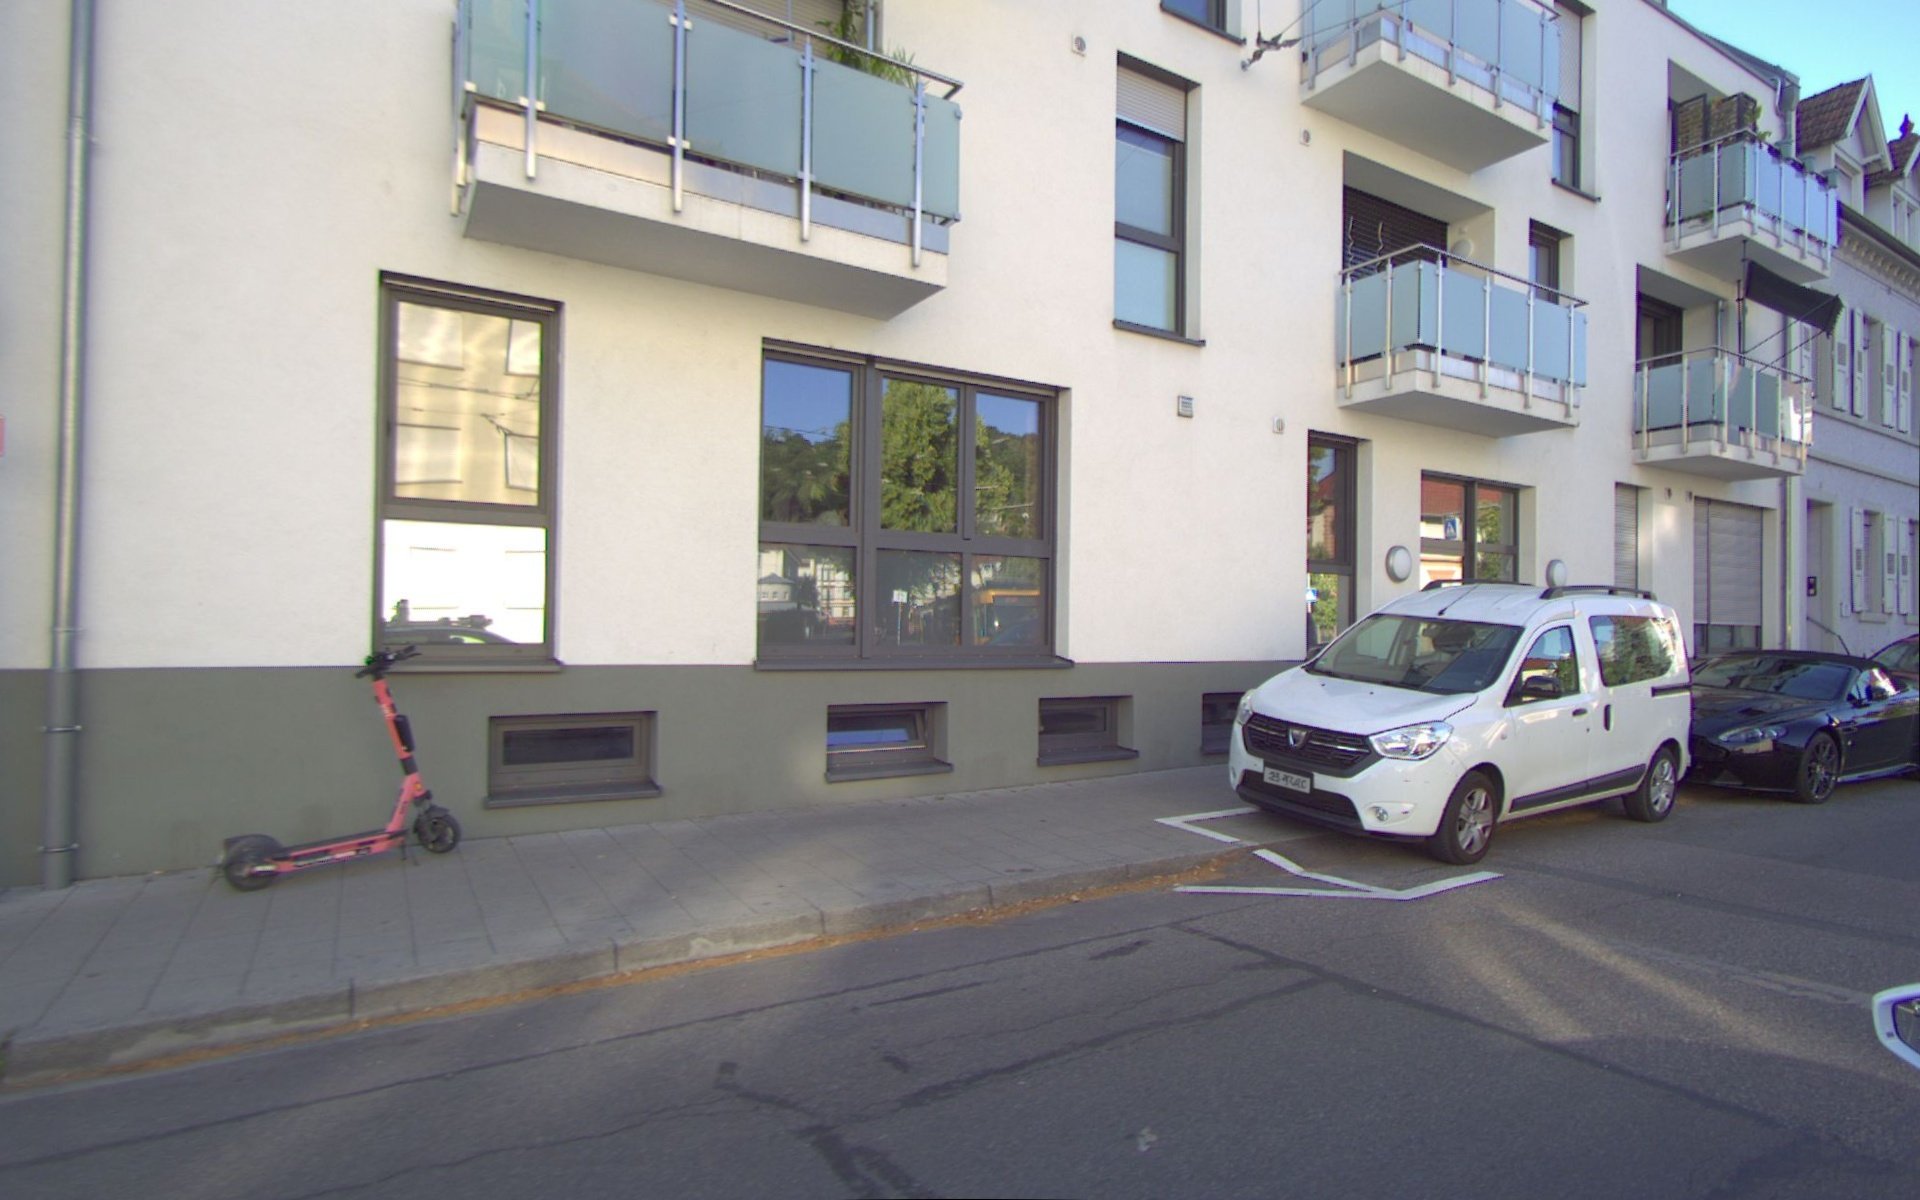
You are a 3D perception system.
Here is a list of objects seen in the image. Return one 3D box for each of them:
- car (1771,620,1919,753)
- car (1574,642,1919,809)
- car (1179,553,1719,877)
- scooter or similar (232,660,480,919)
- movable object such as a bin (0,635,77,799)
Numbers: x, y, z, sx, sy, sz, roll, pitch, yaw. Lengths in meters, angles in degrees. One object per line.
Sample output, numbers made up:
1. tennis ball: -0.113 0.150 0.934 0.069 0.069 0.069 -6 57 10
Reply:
1. car: 13.069 1.054 13.304 4.527 1.486 1.704 1 1 -24
2. car: 8.214 1.150 10.131 3.976 1.290 1.657 2 1 -28
3. car: 3.912 0.704 7.801 4.287 1.894 1.800 2 1 -34
4. scooter or similar: -3.273 0.976 5.506 0.222 1.236 1.147 2 1 44
5. movable object such as a bin: -5.770 0.679 5.990 0.520 0.913 0.549 2 0 -8
